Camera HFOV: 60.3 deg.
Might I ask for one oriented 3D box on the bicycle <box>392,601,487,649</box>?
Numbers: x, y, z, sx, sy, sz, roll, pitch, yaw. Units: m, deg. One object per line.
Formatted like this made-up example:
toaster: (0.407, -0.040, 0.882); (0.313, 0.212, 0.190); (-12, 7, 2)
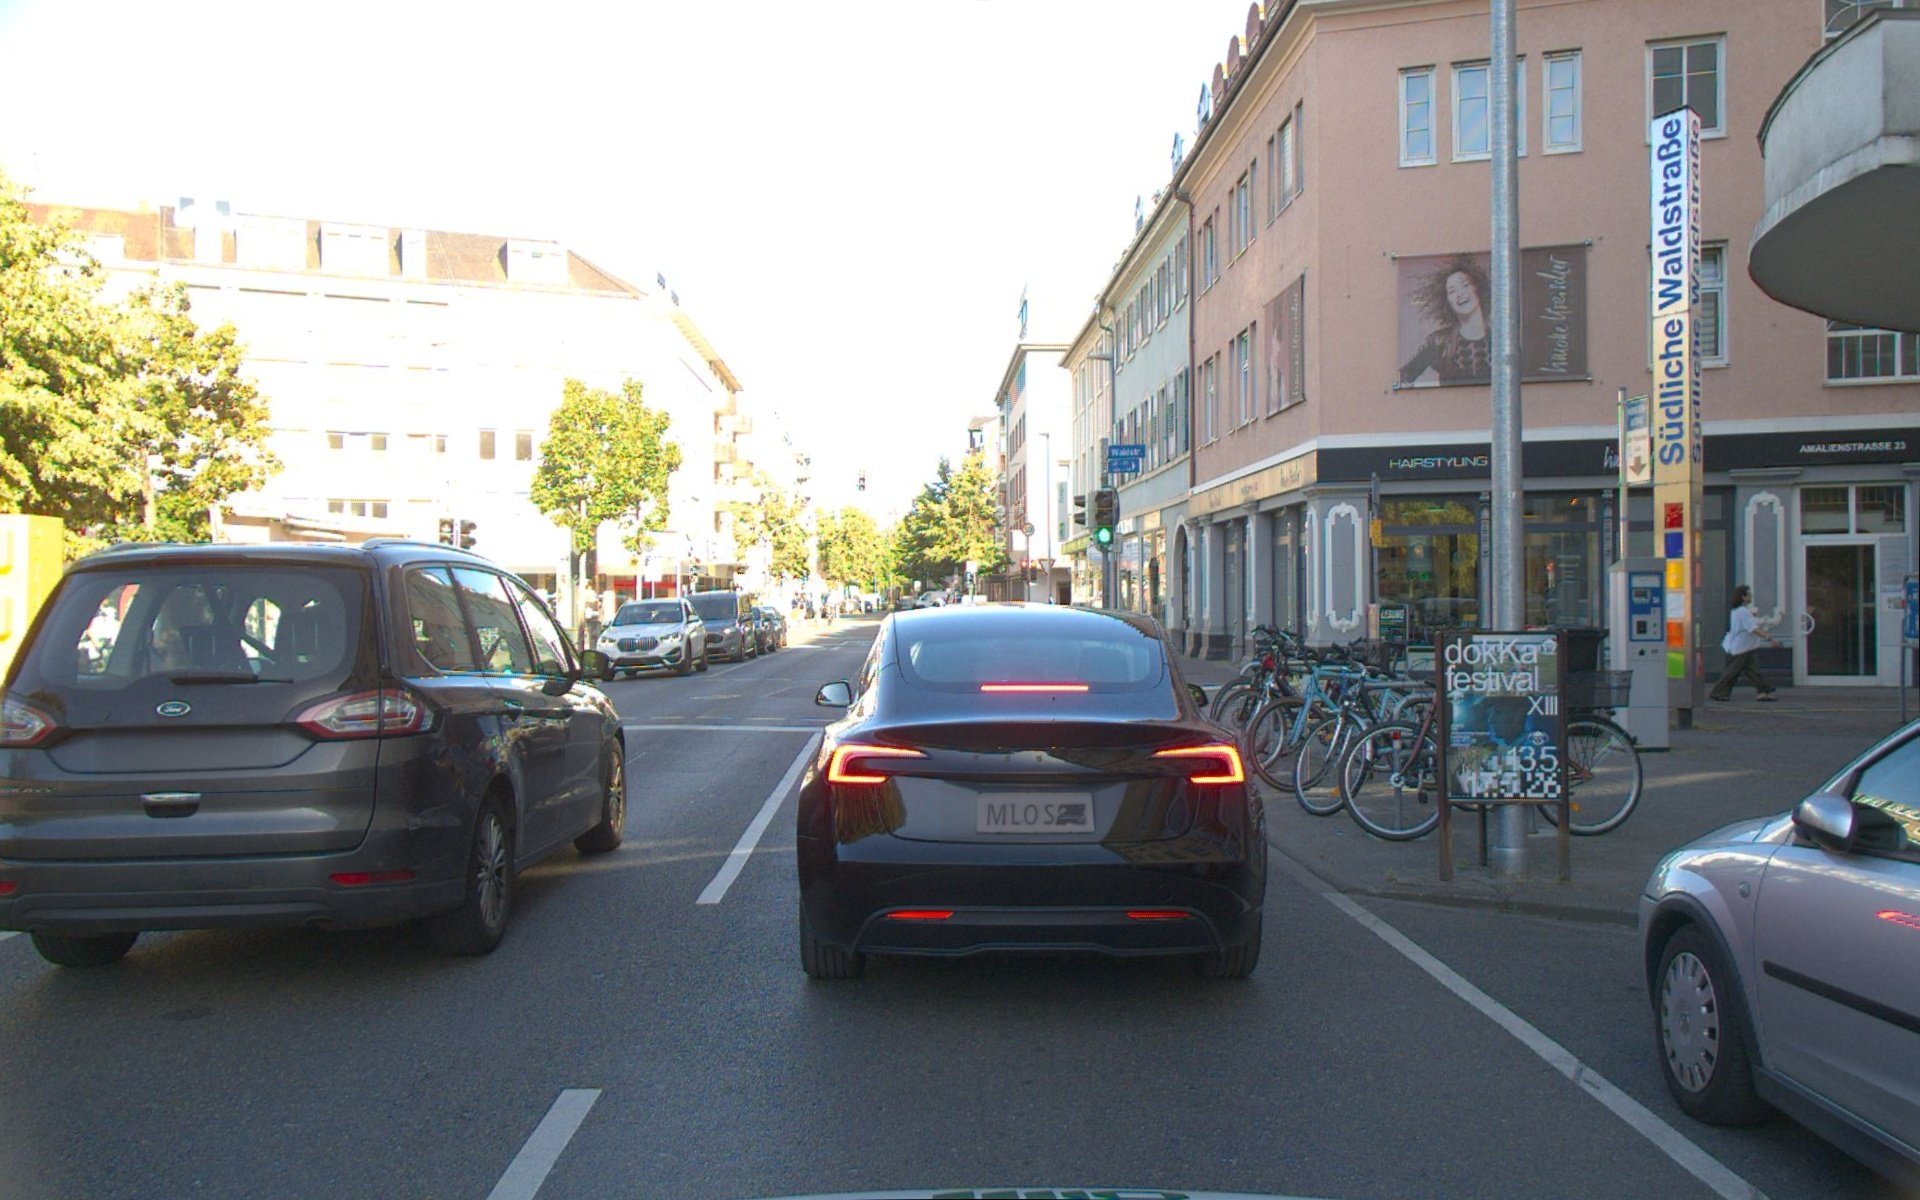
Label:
bicycle: (-14.708, 0.694, 46.805); (2.429, 1.347, 0.921); (0, 0, -6)

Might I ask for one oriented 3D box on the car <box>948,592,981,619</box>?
car: (0.233, 0.330, 100.822); (1.953, 1.657, 3.999); (0, 0, -1)

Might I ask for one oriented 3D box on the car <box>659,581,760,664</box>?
car: (-6.364, 0.534, 42.497); (1.797, 1.877, 4.674); (-4, 0, 0)

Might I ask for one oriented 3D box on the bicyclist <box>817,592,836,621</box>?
bicyclist: (-7.712, 0.367, 95.489); (1.104, 1.657, 0.964); (0, 0, -4)

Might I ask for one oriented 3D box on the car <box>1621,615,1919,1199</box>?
car: (2.935, 0.773, 3.511); (1.580, 1.406, 3.642); (1, 0, 0)

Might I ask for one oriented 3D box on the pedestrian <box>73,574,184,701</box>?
pedestrian: (-13.673, 0.599, 27.221); (1.368, 2.049, 0.905); (0, 0, 12)

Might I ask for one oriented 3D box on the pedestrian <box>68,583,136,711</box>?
pedestrian: (-12.060, 0.646, 23.246); (0.536, 1.758, 0.673); (0, 0, 30)

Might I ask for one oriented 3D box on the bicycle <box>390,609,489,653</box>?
bicycle: (-14.100, 0.839, 44.882); (2.412, 1.176, 0.842); (0, 0, -2)

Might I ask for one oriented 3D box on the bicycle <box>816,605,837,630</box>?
bicycle: (-7.696, 0.994, 95.395); (1.089, 1.368, 3.997); (0, 0, -4)

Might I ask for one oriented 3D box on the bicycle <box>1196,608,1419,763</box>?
bicycle: (3.057, 0.743, 14.711); (1.822, 1.280, 0.833); (-2, 0, 5)

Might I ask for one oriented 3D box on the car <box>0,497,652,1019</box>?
car: (-2.870, 0.543, 8.143); (1.953, 1.803, 4.726); (-1, 0, -2)

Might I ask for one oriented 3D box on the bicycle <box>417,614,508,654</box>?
bicycle: (-14.886, 1.012, 49.559); (2.485, 1.176, 0.841); (0, 0, -6)

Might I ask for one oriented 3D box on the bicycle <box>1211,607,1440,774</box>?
bicycle: (2.992, 0.733, 13.680); (1.709, 1.289, 0.781); (-2, 0, 2)

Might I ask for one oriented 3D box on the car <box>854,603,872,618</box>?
car: (-10.983, 1.206, 186.887); (1.954, 1.666, 3.997); (0, 0, -4)

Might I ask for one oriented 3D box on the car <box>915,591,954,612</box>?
car: (-2.569, 0.152, 167.510); (3.907, 2.049, 1.999); (0, 0, -2)

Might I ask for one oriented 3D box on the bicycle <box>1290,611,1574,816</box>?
bicycle: (3.143, 0.744, 11.152); (1.686, 1.290, 0.791); (-2, 0, 5)

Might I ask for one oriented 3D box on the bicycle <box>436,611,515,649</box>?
bicycle: (-15.210, 0.938, 51.982); (2.279, 1.176, 0.841); (0, 0, -6)

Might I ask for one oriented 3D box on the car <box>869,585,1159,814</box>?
car: (0.291, 0.663, 13.200); (1.953, 1.538, 4.173); (0, 0, -2)

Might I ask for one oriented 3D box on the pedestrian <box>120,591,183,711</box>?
pedestrian: (-11.678, 0.725, 23.881); (0.672, 1.692, 0.617); (0, 0, 41)

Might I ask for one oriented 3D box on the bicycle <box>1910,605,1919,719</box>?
bicycle: (10.346, 0.659, 16.909); (0.645, 1.220, 2.212); (0, 0, 18)

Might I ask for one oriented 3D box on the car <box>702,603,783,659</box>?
car: (-6.418, 0.880, 49.318); (1.954, 1.434, 4.671); (-4, 0, -3)

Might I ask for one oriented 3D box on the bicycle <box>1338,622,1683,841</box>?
bicycle: (3.290, 0.779, 10.022); (1.846, 1.214, 0.692); (-2, 1, 5)

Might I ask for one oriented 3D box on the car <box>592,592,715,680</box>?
car: (-6.286, 0.689, 34.361); (1.771, 1.582, 4.309); (-4, 0, -1)

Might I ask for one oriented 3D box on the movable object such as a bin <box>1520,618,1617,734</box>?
movable object such as a bin: (6.048, 0.743, 16.459); (0.737, 1.111, 0.627); (1, 0, 1)

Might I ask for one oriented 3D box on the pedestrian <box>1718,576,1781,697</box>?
pedestrian: (10.552, 0.479, 22.113); (0.732, 1.579, 0.699); (0, 0, 24)

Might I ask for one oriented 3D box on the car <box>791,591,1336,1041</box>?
car: (0.318, 0.719, 7.491); (1.810, 1.480, 3.999); (0, 0, -1)

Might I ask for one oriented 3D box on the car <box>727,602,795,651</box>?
car: (-6.801, 0.868, 56.904); (1.954, 1.461, 4.671); (-4, 0, -3)

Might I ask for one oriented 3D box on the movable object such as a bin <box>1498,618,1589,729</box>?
movable object such as a bin: (6.027, 0.745, 17.096); (0.718, 1.111, 0.627); (1, 0, 1)

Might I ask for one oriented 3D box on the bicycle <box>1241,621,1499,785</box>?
bicycle: (3.060, 0.766, 12.502); (1.760, 1.144, 0.782); (-2, 0, 5)

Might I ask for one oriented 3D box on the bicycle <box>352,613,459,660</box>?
bicycle: (-14.187, 0.920, 42.348); (2.455, 1.176, 0.842); (0, 0, -2)
